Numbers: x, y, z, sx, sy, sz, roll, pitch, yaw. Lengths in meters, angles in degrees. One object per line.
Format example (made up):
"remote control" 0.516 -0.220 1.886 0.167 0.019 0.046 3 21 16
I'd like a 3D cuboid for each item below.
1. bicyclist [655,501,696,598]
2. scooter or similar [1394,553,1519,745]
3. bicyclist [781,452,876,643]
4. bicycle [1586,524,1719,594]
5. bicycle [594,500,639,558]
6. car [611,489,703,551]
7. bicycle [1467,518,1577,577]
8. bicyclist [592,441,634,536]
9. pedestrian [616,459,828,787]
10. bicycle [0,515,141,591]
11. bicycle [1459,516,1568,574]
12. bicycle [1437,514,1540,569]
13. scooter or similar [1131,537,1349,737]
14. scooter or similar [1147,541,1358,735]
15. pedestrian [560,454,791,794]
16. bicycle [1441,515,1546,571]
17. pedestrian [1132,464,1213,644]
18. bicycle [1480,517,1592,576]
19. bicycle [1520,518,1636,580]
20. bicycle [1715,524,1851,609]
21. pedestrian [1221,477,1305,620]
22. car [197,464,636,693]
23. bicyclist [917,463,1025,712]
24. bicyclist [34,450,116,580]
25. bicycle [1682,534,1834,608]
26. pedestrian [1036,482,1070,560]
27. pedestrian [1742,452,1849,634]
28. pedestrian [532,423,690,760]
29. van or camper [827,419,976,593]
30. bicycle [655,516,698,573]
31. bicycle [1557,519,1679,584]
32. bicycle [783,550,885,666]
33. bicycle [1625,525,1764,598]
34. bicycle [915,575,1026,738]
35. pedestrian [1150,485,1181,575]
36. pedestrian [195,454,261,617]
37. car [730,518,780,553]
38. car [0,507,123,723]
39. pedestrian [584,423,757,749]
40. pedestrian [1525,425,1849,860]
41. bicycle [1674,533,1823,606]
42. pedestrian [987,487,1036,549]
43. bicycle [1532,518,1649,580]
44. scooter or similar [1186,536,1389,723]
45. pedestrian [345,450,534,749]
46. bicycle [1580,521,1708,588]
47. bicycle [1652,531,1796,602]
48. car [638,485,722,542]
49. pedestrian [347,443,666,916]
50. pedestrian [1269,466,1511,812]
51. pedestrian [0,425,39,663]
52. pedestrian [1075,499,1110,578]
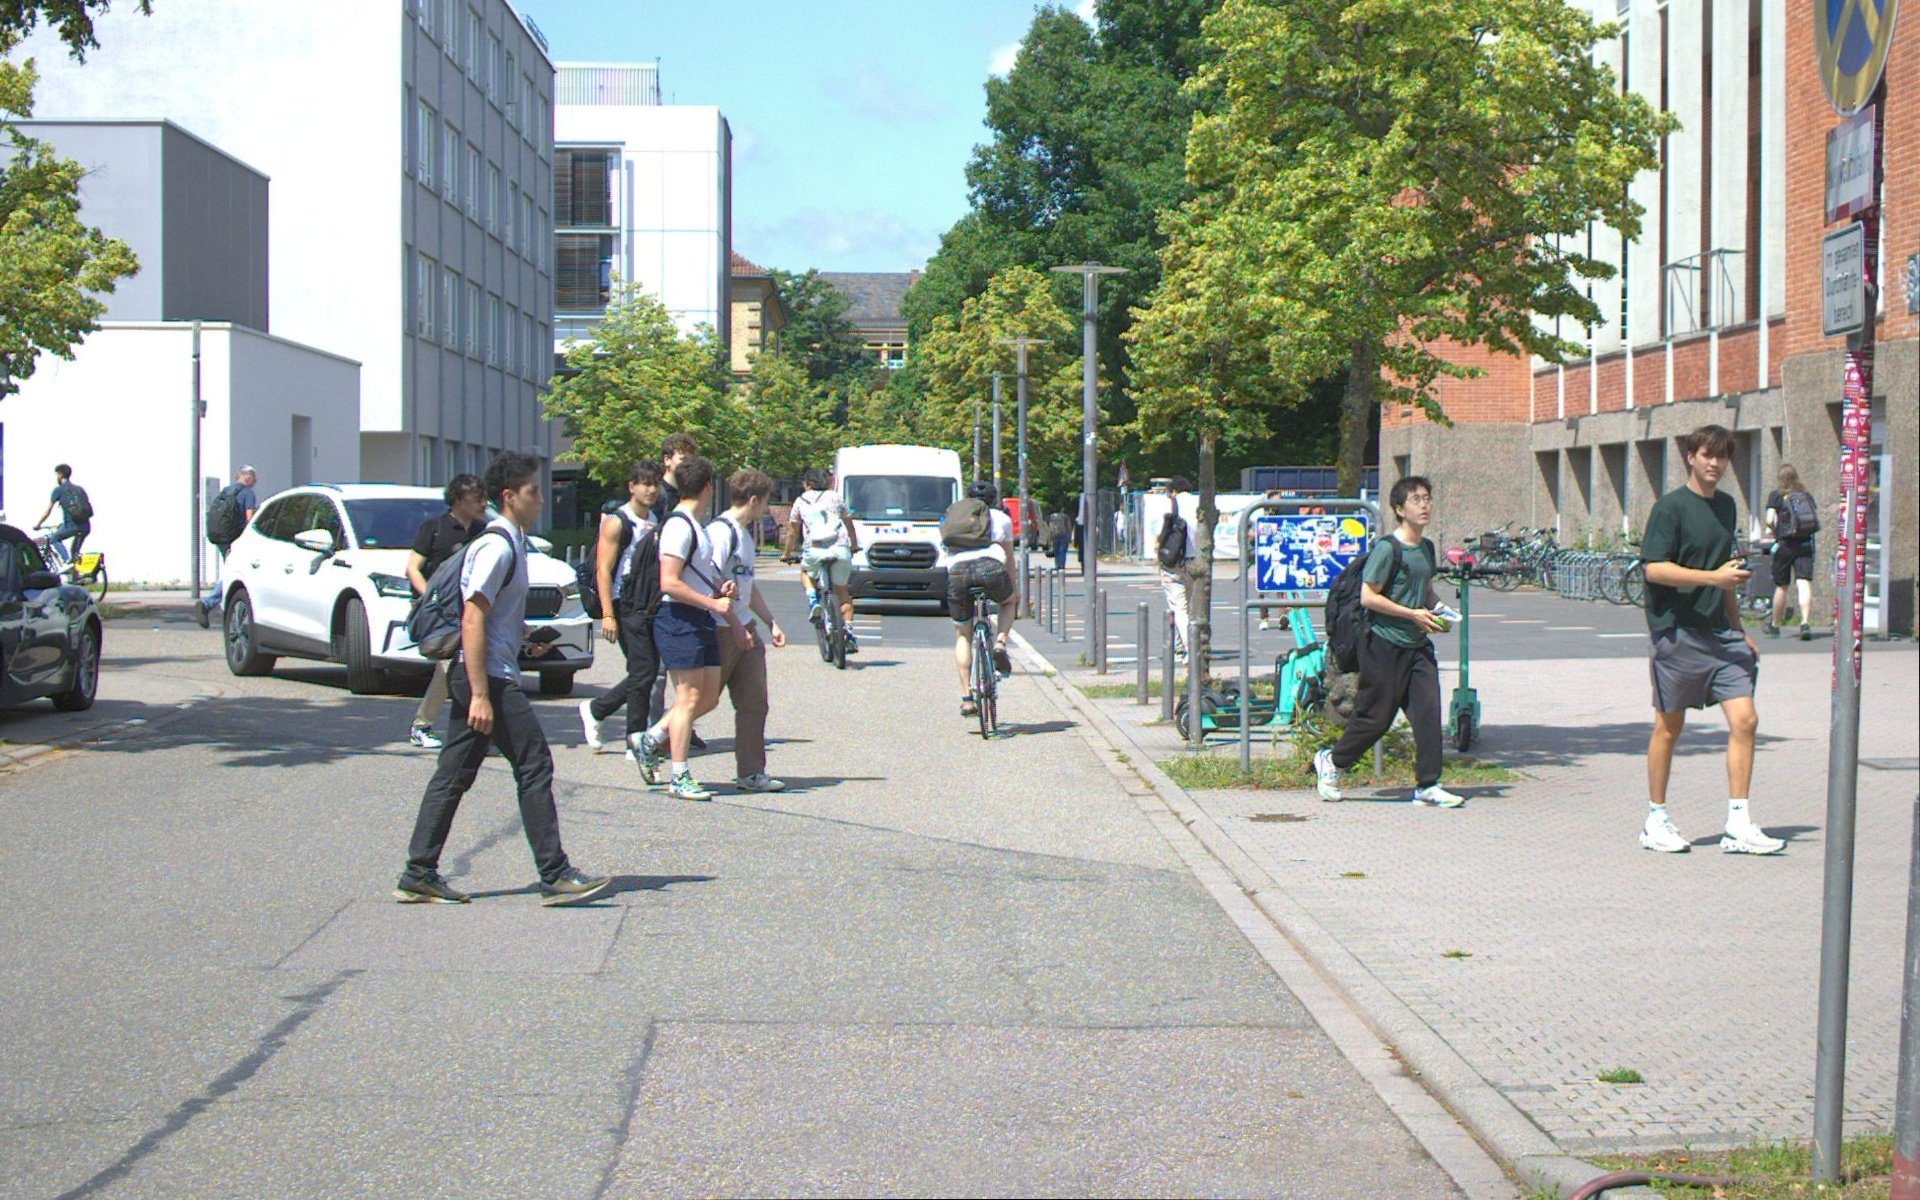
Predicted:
"bicyclist" -4.992 -0.898 60.367 0.667 1.676 0.993 -1 2 -3
"scooter or similar" 3.148 0.292 21.752 0.649 1.156 1.264 0 2 14
"bicyclist" -1.247 -0.505 32.482 0.771 1.750 0.848 -3 2 -5
"bicycle" 10.089 -0.603 50.142 1.809 0.981 0.560 -1 2 -2
"bicycle" -5.846 -1.217 58.587 0.677 0.961 2.003 1 2 -3
"car" -7.685 -2.049 87.408 1.795 1.524 4.000 0 2 3
"bicycle" 9.814 -0.920 60.070 1.809 0.981 0.560 -1 2 -2
"bicyclist" -5.908 -1.903 58.545 0.643 1.596 0.909 -1 2 -3
"pedestrian" -1.303 0.109 18.788 0.908 1.733 0.677 2 2 37
"bicycle" -12.198 -0.647 47.073 2.122 0.999 0.809 2 1 41
"bicycle" 9.778 -0.968 60.774 1.809 0.981 0.560 -1 2 -2
"bicycle" 9.841 -1.085 64.043 1.809 0.981 0.560 -1 2 -2
"scooter or similar" 1.834 0.227 22.512 1.263 1.260 0.649 1 2 31
"scooter or similar" 1.977 0.242 23.269 1.263 1.260 0.649 1 2 31
"pedestrian" -1.497 0.105 18.082 0.982 1.733 0.699 2 2 36
"bicycle" 9.791 -1.051 63.111 1.809 0.981 0.560 -1 2 -2
"pedestrian" 2.053 -0.458 33.339 0.702 1.688 0.962 -1 4 -1
"bicycle" 9.922 -0.923 59.242 1.809 0.981 0.560 -1 2 -2
"bicycle" 10.317 -0.855 57.394 1.809 0.981 0.560 -1 2 -2
"bicycle" 10.104 -0.415 42.225 1.535 1.029 0.560 0 2 -2
"pedestrian" 3.702 -0.641 42.048 0.853 1.727 1.160 0 2 -3
"car" -4.476 -0.224 27.720 1.917 1.613 4.521 3 1 -30
"bicyclist" 0.076 -0.097 23.494 0.717 1.656 1.095 0 1 0
"bicyclist" -12.096 -1.162 46.999 0.692 1.750 0.809 2 1 40
"bicycle" 10.251 -0.371 44.163 1.809 0.909 0.560 -1 2 -2
"pedestrian" 2.211 -1.881 81.800 0.790 1.853 1.243 0 2 0
"pedestrian" 8.620 -0.593 35.509 0.790 1.853 1.116 0 2 -2
"pedestrian" -2.103 -0.054 20.657 0.616 1.973 0.829 -1 0 -32
"van or camper" -0.816 -1.358 50.690 1.993 2.437 4.570 0 1 2
"bicycle" -4.976 -0.982 60.379 0.677 0.961 2.003 -1 2 -3
"bicycle" 10.363 -0.764 54.167 1.809 0.981 0.560 -1 2 -2
"bicycle" -1.204 0.055 32.461 0.808 0.998 2.124 -1 2 -6
"bicycle" 10.290 -0.543 48.186 1.809 0.981 0.560 -1 2 -2
"bicycle" 0.081 0.365 23.581 0.706 0.989 1.911 1 2 1
"pedestrian" 4.274 -1.453 71.417 0.576 1.853 0.570 0 2 -3
"pedestrian" -8.177 -0.713 38.365 0.666 1.779 0.985 1 0 -14
"car" -9.147 -2.887 153.823 1.795 1.524 4.000 0 2 3
"car" -6.666 0.063 22.040 1.645 1.296 3.928 0 2 0
"pedestrian" -1.801 -0.103 21.399 0.827 1.973 0.691 2 3 21
"pedestrian" 3.230 0.161 15.322 0.852 1.853 1.116 -1 2 -36
"bicycle" 10.310 -0.403 44.959 1.809 0.909 0.560 -1 2 -2
"pedestrian" 1.739 -2.789 116.768 1.499 1.989 1.647 -3 3 -3
"bicycle" 10.413 -0.846 56.787 1.809 0.981 0.560 -1 2 -2
"scooter or similar" 2.295 0.191 24.105 1.263 1.260 0.638 1 2 31
"pedestrian" -3.168 -0.023 20.965 0.802 1.766 0.853 2 3 21
"bicycle" 10.410 -0.690 52.338 1.809 0.981 0.560 -1 2 -2
"bicycle" 10.311 -0.456 46.424 1.809 0.909 0.560 -1 2 -2
"car" -7.699 -2.392 94.817 1.795 1.524 4.000 0 2 3
"pedestrian" -1.729 0.288 13.156 1.105 1.710 0.710 3 3 -6
"pedestrian" 2.222 0.179 17.775 0.702 1.714 0.993 -3 3 -44
"pedestrian" -8.219 -0.477 27.864 1.015 1.897 1.178 2 0 -37
"pedestrian" 3.139 -1.473 81.472 0.790 1.853 1.026 0 2 0
